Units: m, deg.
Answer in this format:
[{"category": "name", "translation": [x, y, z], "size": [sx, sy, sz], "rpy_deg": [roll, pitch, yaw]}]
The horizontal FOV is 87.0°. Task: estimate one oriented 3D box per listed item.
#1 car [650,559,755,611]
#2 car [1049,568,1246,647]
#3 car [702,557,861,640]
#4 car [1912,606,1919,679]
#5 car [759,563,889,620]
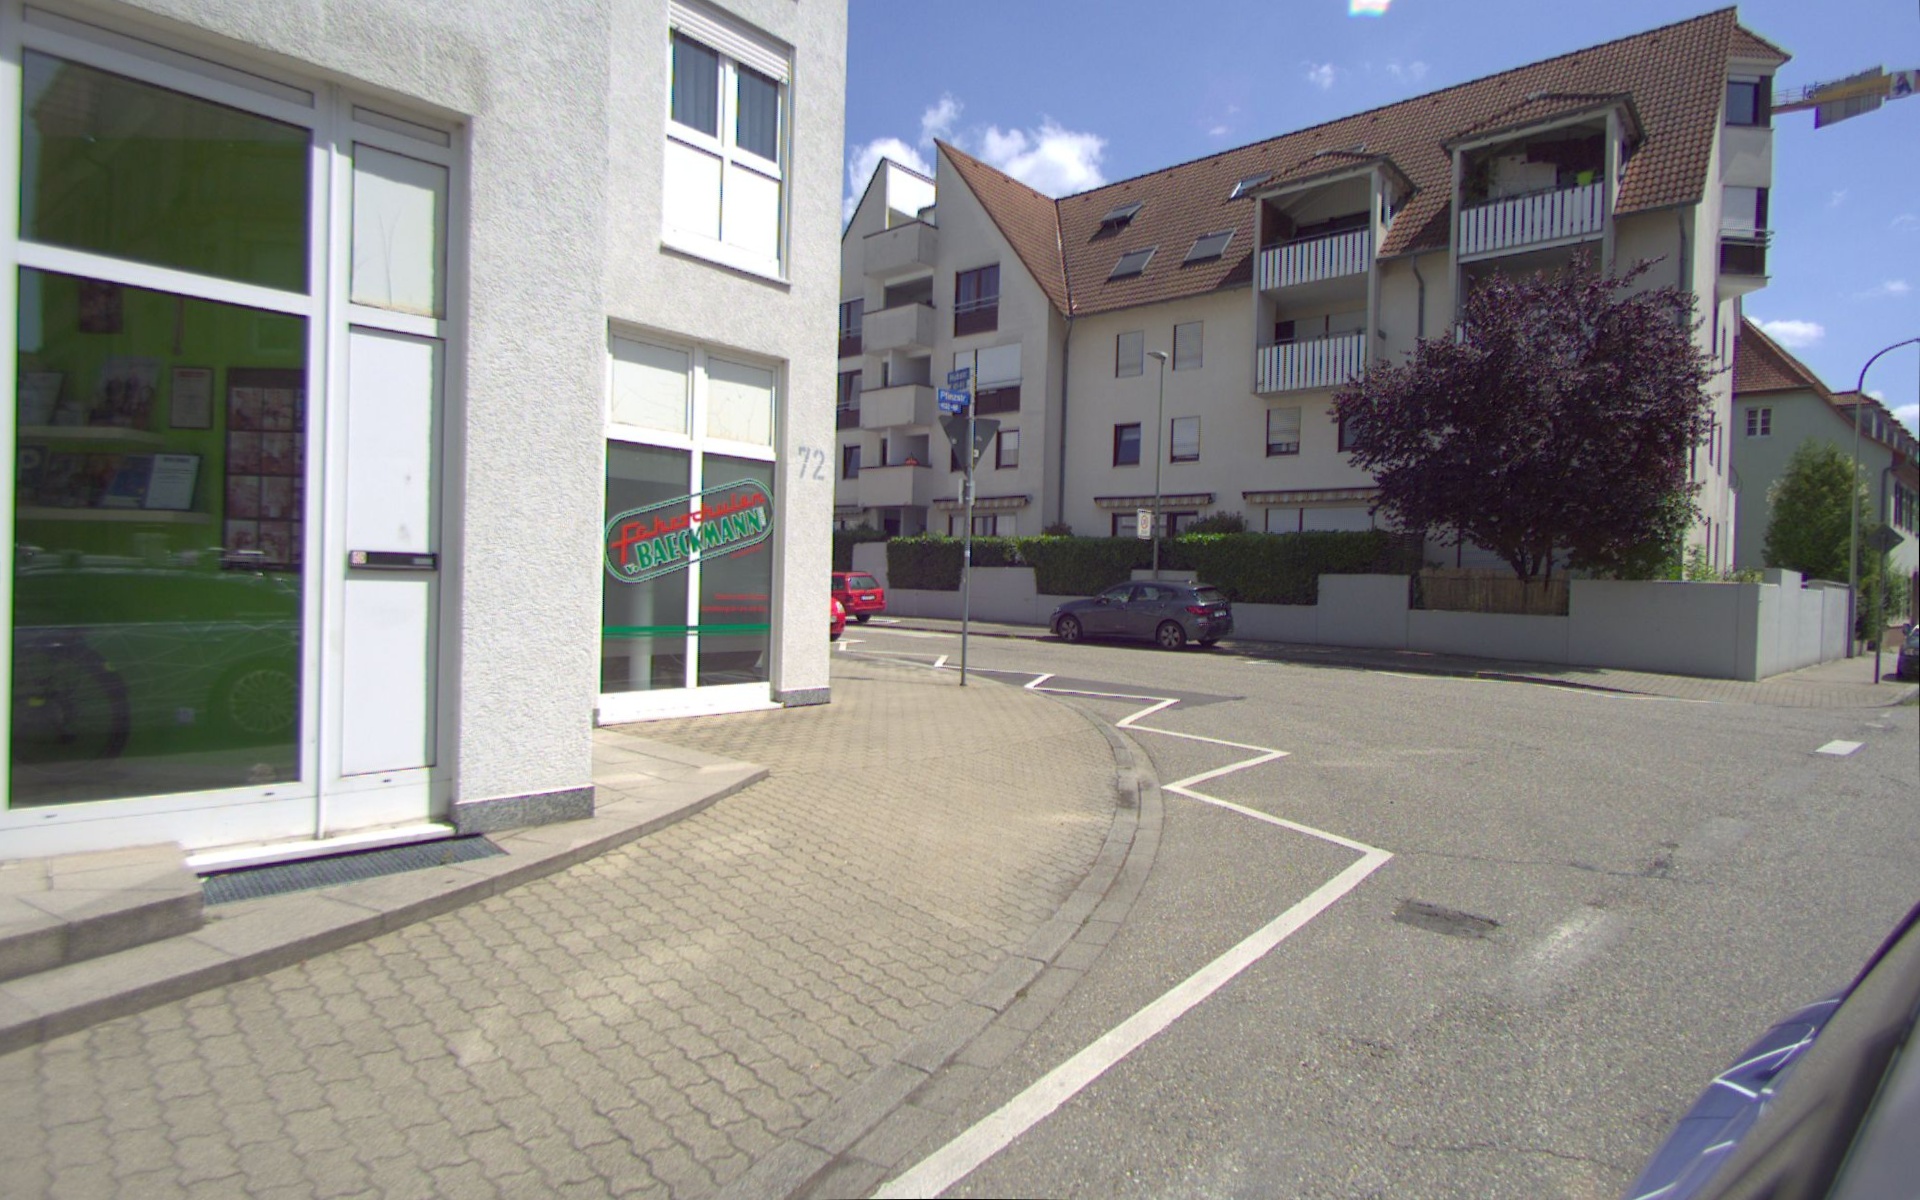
[{"category": "car", "translation": [-8.369, -0.518, 32.740], "size": [3.773, 1.577, 1.512], "rpy_deg": [3, 1, 43]}, {"category": "car", "translation": [4.095, 0.100, 22.451], "size": [3.986, 1.486, 1.711], "rpy_deg": [4, 3, 42]}, {"category": "car", "translation": [-3.803, -0.076, 21.269], "size": [1.570, 1.560, 3.509], "rpy_deg": [0, 2, -45]}, {"category": "car", "translation": [20.245, 0.846, 20.171], "size": [4.169, 1.393, 1.658], "rpy_deg": [0, 2, -44]}, {"category": "car", "translation": [-3.962, -0.273, 29.251], "size": [3.769, 1.485, 1.630], "rpy_deg": [2, 1, 40]}]
